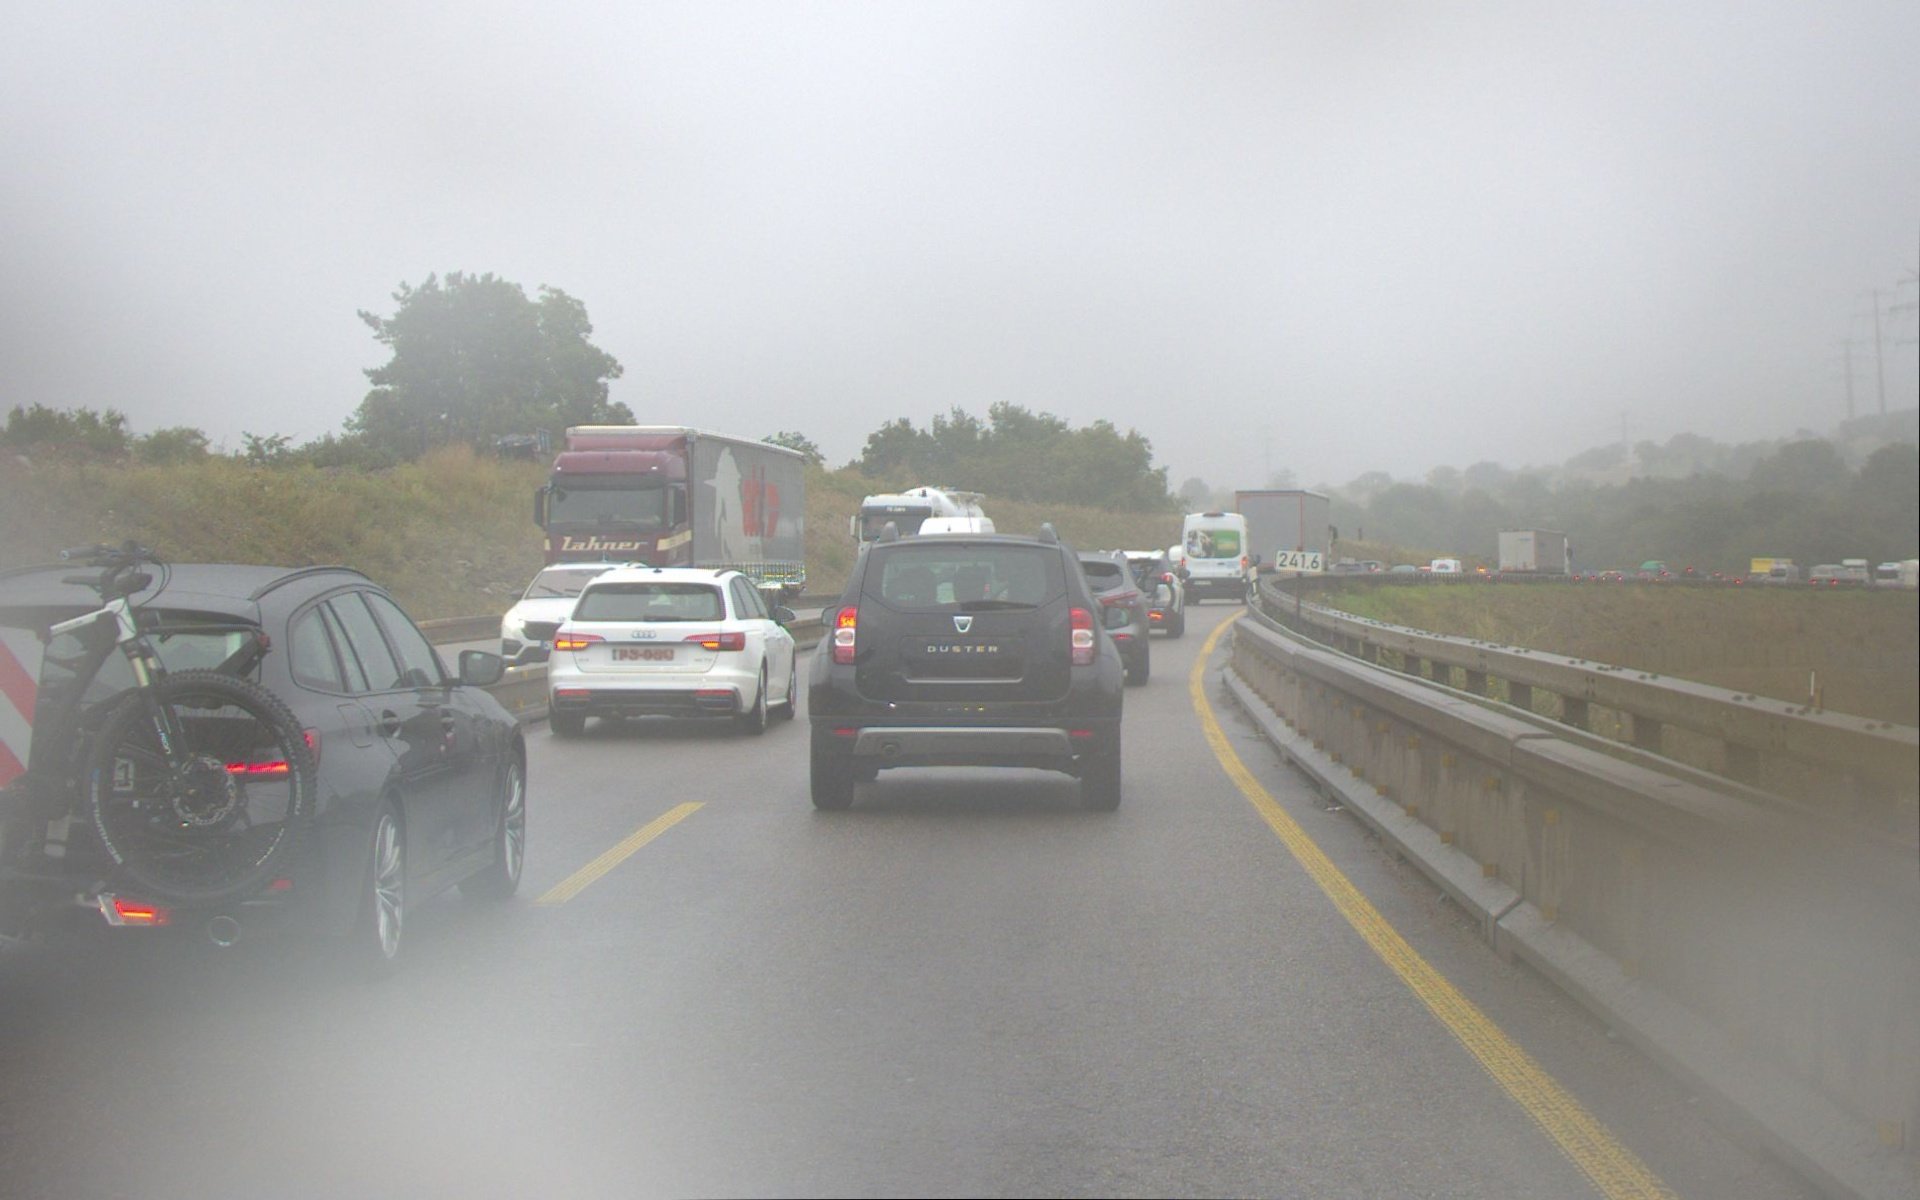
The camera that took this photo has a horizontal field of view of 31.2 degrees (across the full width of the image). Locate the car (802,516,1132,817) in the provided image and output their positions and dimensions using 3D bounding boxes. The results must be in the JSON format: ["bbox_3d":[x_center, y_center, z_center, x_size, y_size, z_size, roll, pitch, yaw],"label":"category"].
[{"bbox_3d":[-0.037,0.356,20.770,1.804,1.640,3.777,0,0,-2],"label":"car"}]

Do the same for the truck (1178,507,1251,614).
[{"bbox_3d":[7.829,-1.208,105.739,2.149,3.155,6.458,1,1,4],"label":"truck"}]

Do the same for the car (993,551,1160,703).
[{"bbox_3d":[1.365,0.284,40.858,1.867,1.703,4.000,1,1,2],"label":"car"}]

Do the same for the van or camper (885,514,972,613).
[{"bbox_3d":[-0.835,-1.005,94.836,2.278,2.605,5.828,1,1,1],"label":"van or camper"}]

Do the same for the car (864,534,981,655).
[{"bbox_3d":[-0.577,-0.111,56.040,1.660,1.873,4.019,1,1,3],"label":"car"}]

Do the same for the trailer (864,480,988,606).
[{"bbox_3d":[-1.027,-1.855,114.505,3.256,3.950,11.535,-1,0,4],"label":"trailer"}]

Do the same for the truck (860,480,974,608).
[{"bbox_3d":[-1.325,-1.760,109.651,3.231,3.942,5.881,-1,0,3],"label":"truck"}]

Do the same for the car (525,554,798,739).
[{"bbox_3d":[-2.506,0.347,29.860,1.867,1.455,4.548,1,1,1],"label":"car"}]

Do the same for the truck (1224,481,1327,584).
[{"bbox_3d":[12.117,-2.545,131.315,3.202,3.748,8.506,1,1,10],"label":"truck"}]

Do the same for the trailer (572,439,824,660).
[{"bbox_3d":[-5.634,-1.178,77.701,2.996,4.406,15.700,-2,1,5],"label":"trailer"}]

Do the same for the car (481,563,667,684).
[{"bbox_3d":[-5.076,0.271,45.725,1.744,1.497,4.634,1,1,3],"label":"car"}]

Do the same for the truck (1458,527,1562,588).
[{"bbox_3d":[39.049,-2.957,243.394,4.722,4.135,15.668,1,1,18],"label":"truck"}]

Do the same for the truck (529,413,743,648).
[{"bbox_3d":[-6.413,-1.379,69.116,2.980,4.394,6.930,-2,1,5],"label":"truck"}]

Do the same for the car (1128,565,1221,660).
[{"bbox_3d":[3.862,0.196,61.461,1.531,1.635,4.012,1,1,5],"label":"car"}]

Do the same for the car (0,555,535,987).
[{"bbox_3d":[-2.880,0.579,13.645,1.829,1.471,3.776,0,0,1],"label":"car"}]
